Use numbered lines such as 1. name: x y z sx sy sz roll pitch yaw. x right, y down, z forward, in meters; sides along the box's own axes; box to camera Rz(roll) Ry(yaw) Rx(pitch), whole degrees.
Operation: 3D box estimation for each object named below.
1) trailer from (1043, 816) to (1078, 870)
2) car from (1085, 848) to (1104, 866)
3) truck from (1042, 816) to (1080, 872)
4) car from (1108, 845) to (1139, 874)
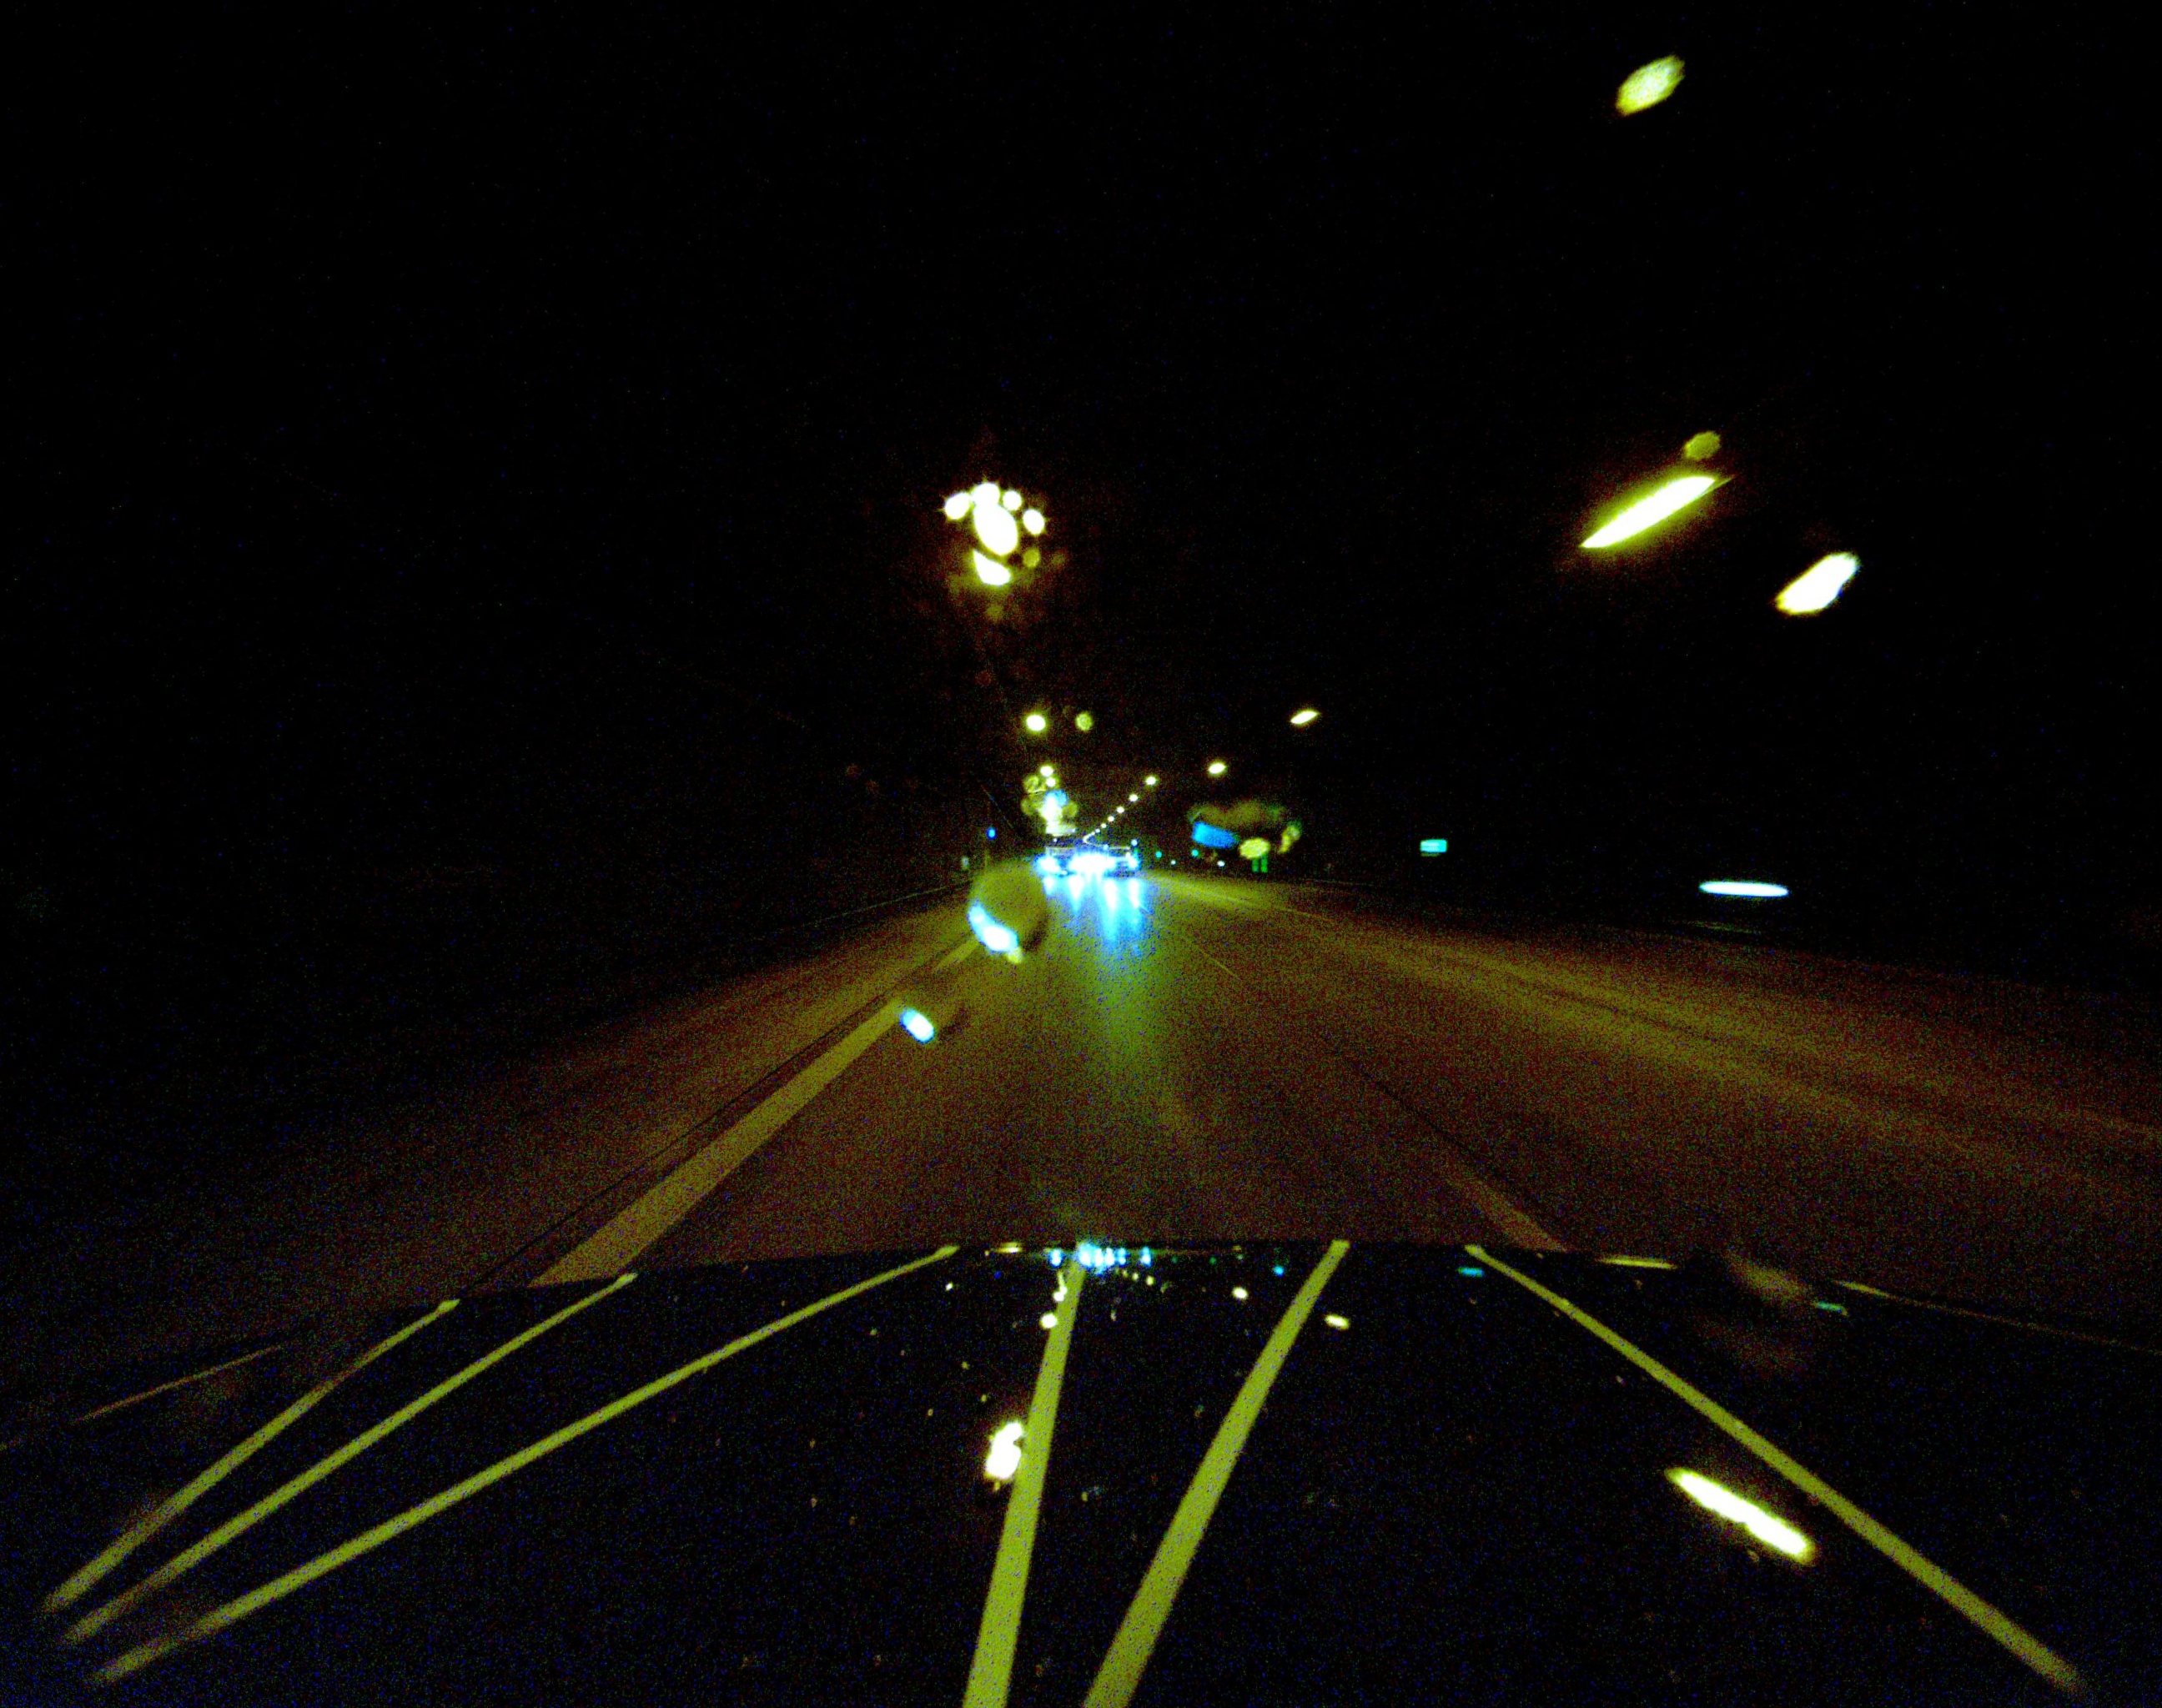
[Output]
1. trailer: -1.933 -0.906 65.930 2.628 4.139 13.996 2 0 -3
2. car: 1.541 0.299 84.667 1.998 1.890 4.000 -2 1 1
3. truck: -1.641 -0.774 59.695 2.654 4.139 6.002 2 1 -4
4. car: 2.860 0.370 51.662 1.998 1.890 4.001 -1 0 3
